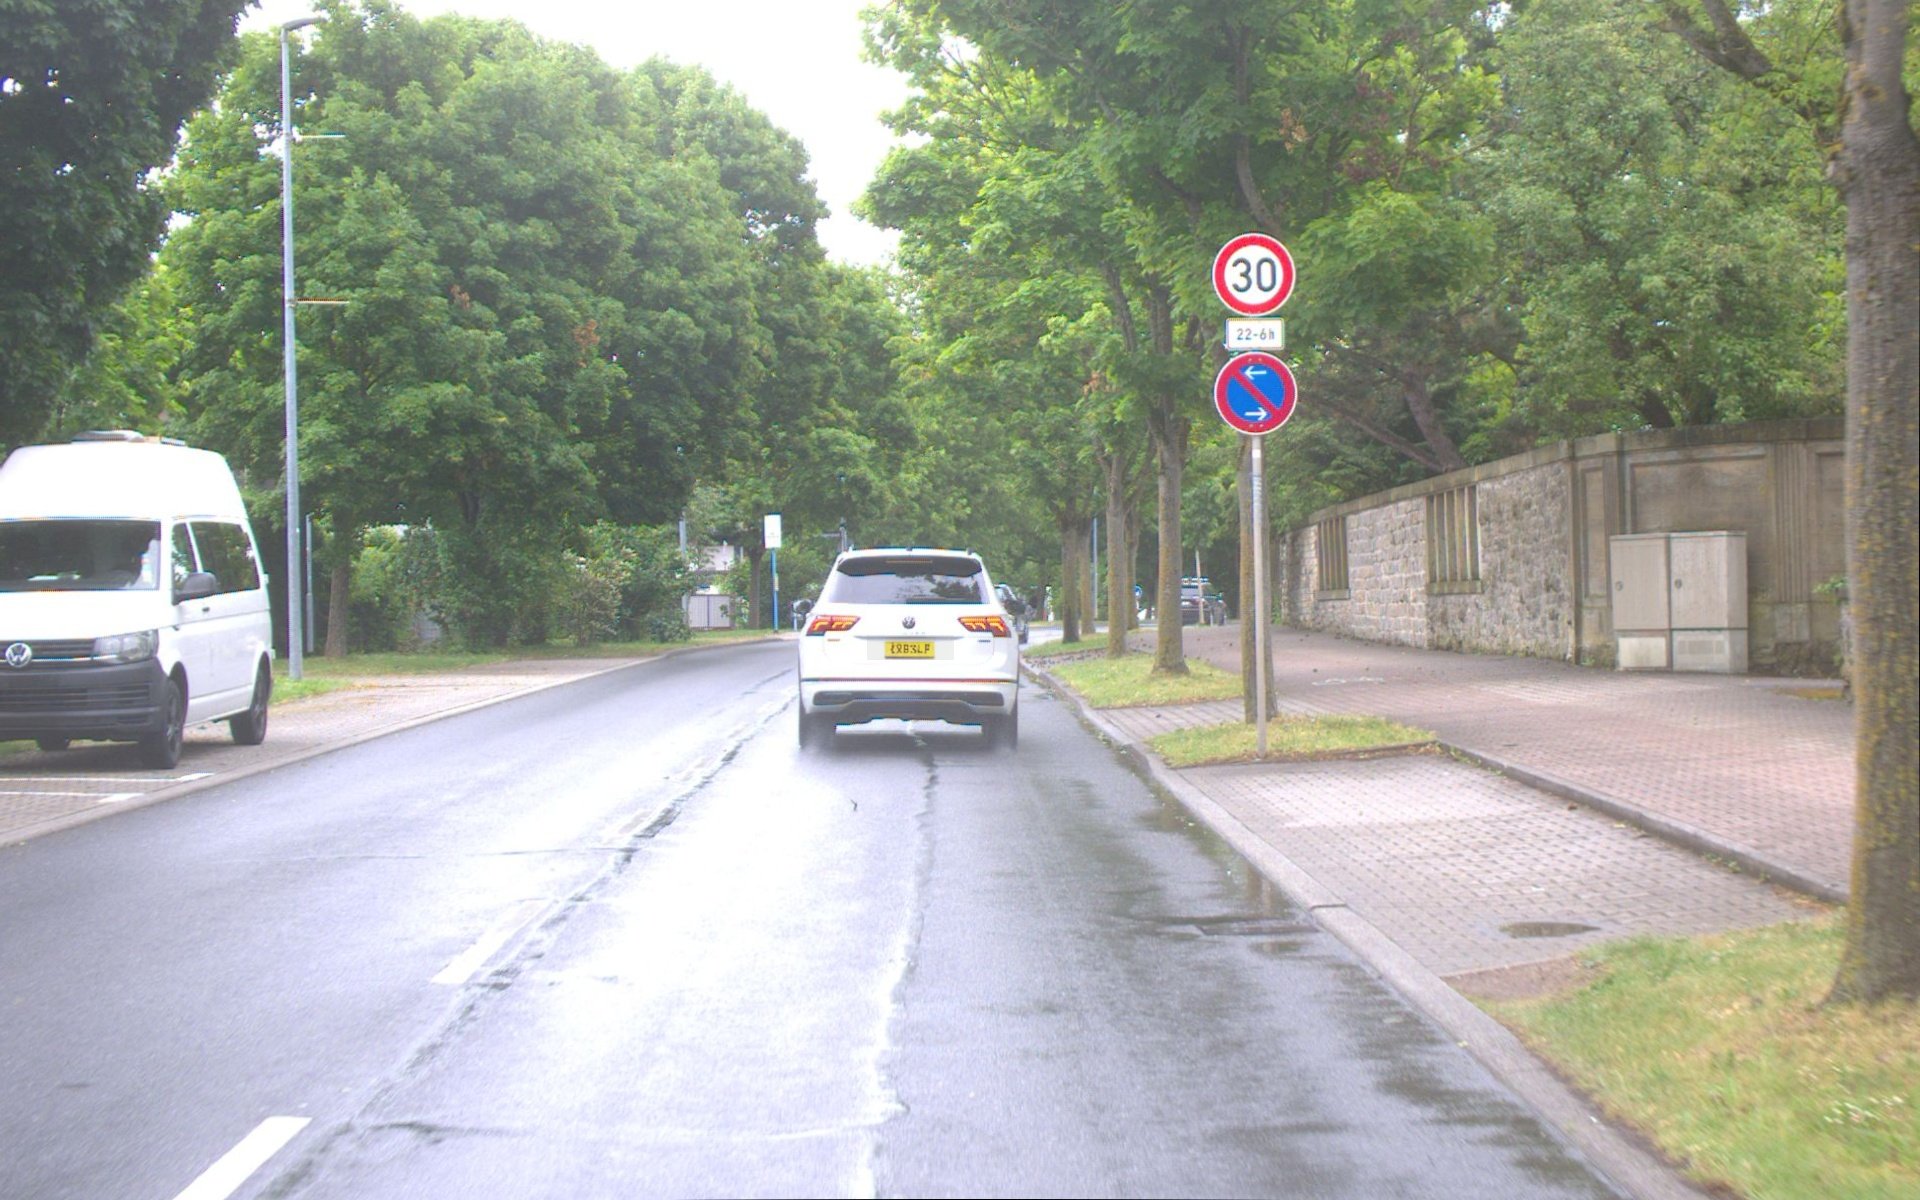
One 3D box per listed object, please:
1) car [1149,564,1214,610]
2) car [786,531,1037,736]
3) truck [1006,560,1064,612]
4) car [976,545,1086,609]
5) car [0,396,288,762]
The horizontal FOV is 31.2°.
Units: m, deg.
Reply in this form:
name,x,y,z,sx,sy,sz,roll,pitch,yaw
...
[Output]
name,x,y,z,sx,sy,sz,roll,pitch,yaw
car,7.639,-0.433,118.349,1.841,1.482,3.998,-3,-1,8
car,-0.422,0.230,29.485,1.997,1.626,4.000,0,1,-1
truck,3.917,-0.712,179.366,2.285,2.588,5.872,-1,0,8
car,1.766,-0.569,83.971,1.842,1.482,3.998,2,1,13
car,-6.701,-0.188,26.760,1.993,2.552,5.233,-1,1,-1
